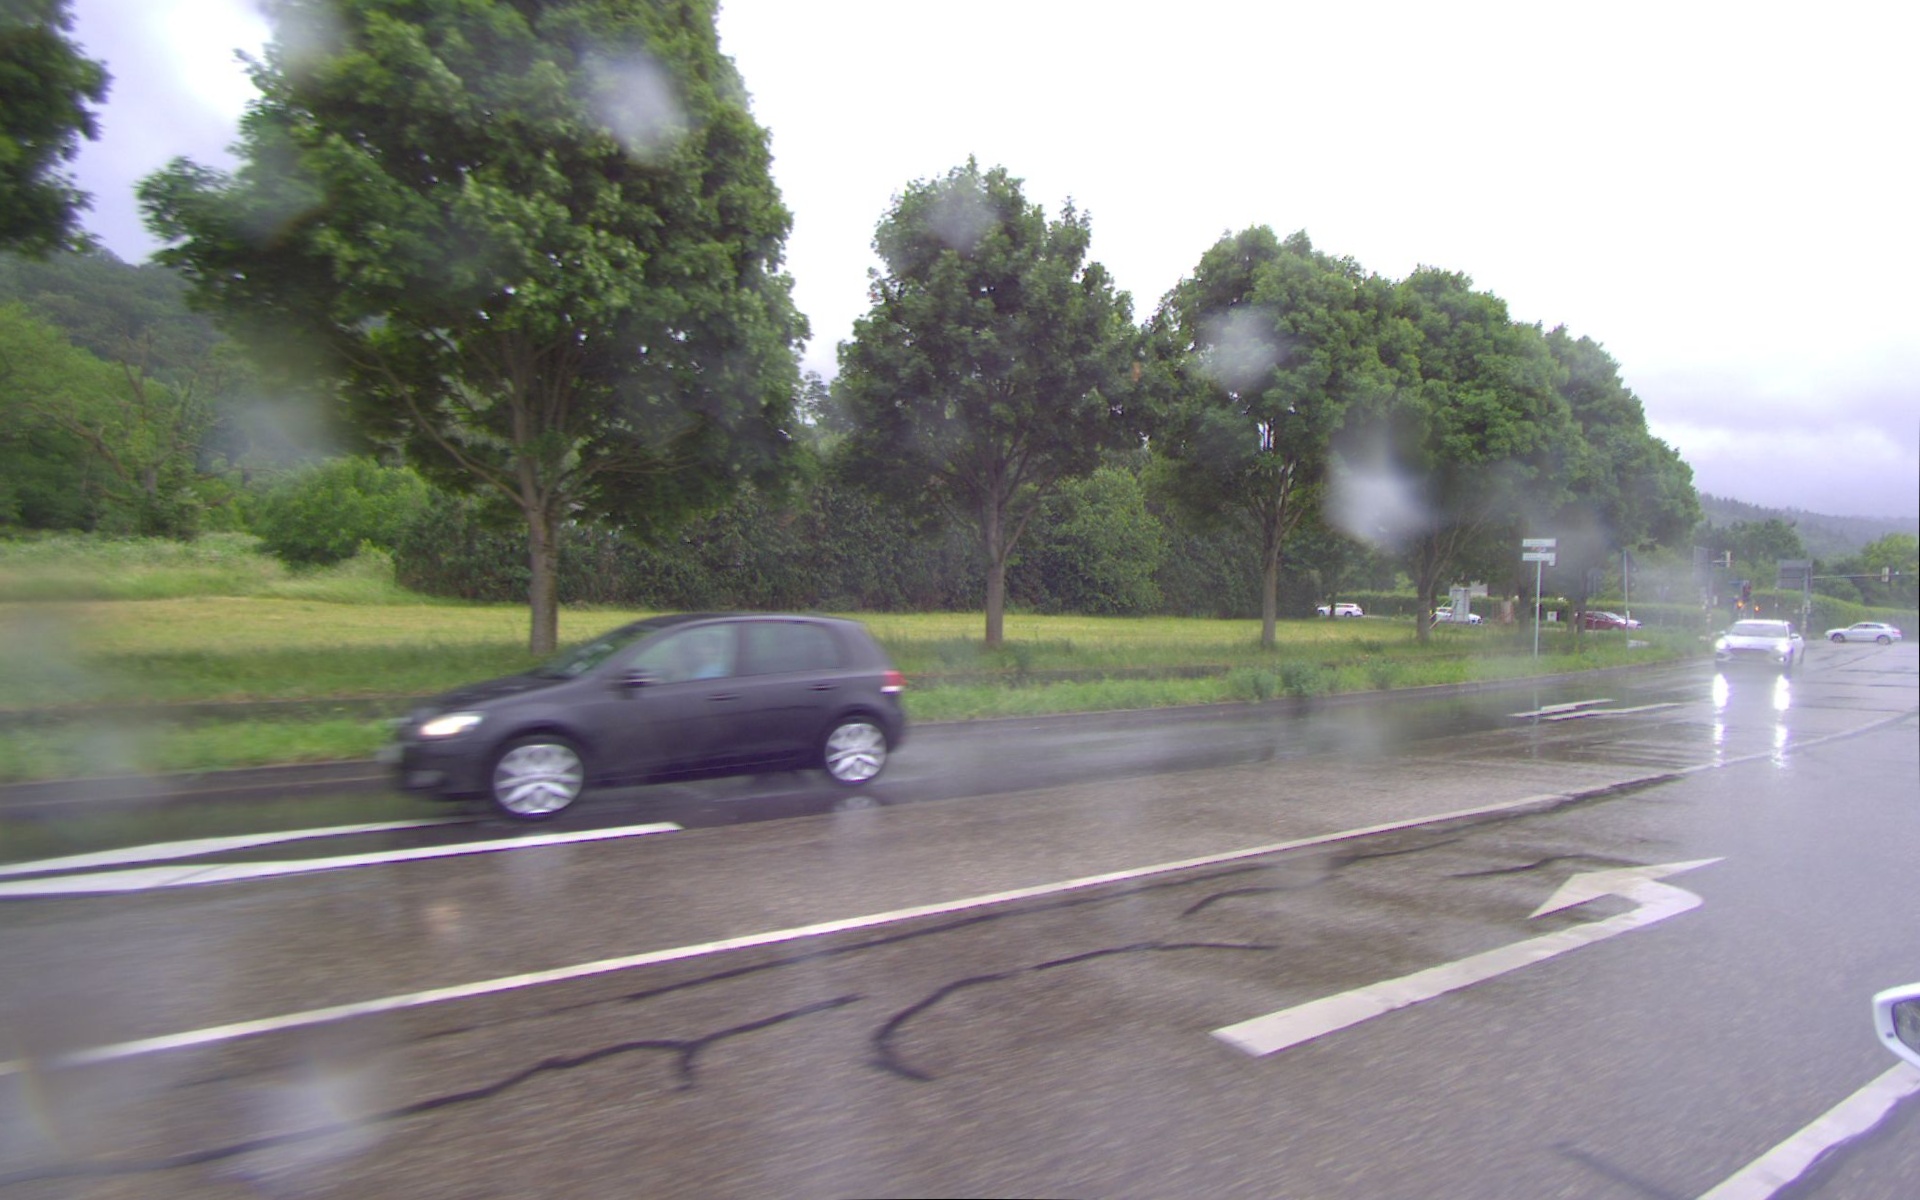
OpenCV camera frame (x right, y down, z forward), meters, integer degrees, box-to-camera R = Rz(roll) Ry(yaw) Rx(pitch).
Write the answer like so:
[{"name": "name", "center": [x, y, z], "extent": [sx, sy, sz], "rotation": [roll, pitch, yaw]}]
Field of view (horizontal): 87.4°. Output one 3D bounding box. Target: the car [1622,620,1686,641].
[{"name": "car", "center": [59.431, 2.613, 86.086], "extent": [1.716, 1.601, 4.204], "rotation": [1, 1, -37]}]

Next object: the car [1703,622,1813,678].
[{"name": "car", "center": [24.698, 1.506, 31.018], "extent": [4.608, 1.594, 1.863], "rotation": [2, -1, -41]}]

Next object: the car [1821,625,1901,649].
[{"name": "car", "center": [68.417, 2.781, 76.311], "extent": [1.720, 1.601, 4.334], "rotation": [1, 1, -42]}]

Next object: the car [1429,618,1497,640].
[{"name": "car", "center": [42.369, 2.436, 84.737], "extent": [1.782, 1.574, 4.846], "rotation": [1, 1, -37]}]

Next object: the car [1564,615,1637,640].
[{"name": "car", "center": [48.866, 2.085, 76.688], "extent": [1.716, 1.601, 4.343], "rotation": [1, 1, -37]}]

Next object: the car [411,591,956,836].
[{"name": "car", "center": [-2.237, 0.783, 8.539], "extent": [4.078, 1.608, 1.871], "rotation": [2, 0, -36]}]
